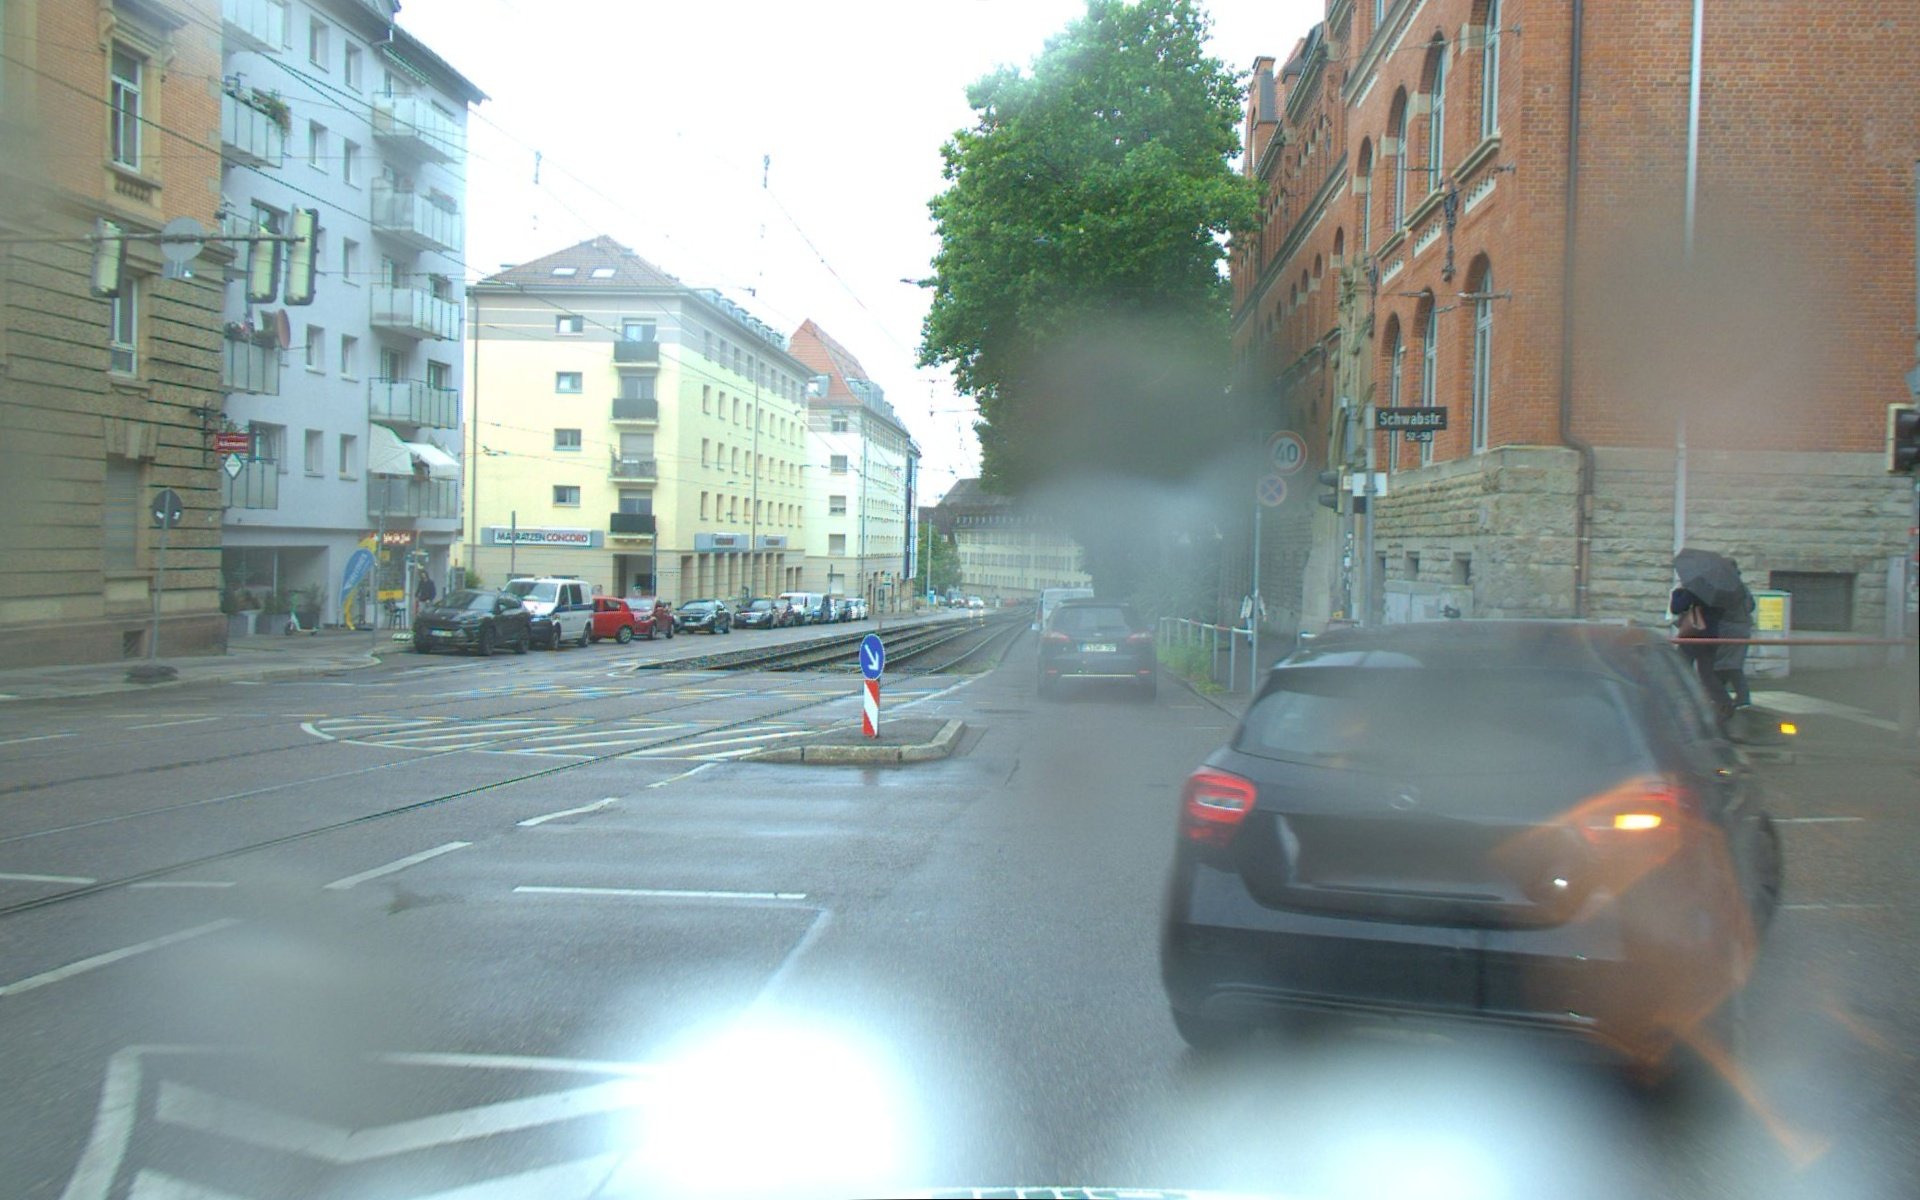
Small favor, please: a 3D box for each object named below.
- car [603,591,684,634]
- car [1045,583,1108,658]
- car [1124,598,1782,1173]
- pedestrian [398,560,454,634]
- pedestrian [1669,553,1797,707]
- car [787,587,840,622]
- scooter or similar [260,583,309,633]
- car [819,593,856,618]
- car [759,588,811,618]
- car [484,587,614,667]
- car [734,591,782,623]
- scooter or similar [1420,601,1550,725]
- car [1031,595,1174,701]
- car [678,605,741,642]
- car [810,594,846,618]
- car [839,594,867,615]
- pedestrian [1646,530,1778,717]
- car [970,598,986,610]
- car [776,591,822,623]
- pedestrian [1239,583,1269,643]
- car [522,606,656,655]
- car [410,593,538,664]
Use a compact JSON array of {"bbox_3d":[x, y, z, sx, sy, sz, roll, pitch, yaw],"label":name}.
[{"bbox_3d":[-11.175,0.428,58.610,1.618,1.477,4.077,0,0,8],"label":"car"},{"bbox_3d":[3.322,0.576,47.735,1.704,2.049,3.905,0,0,2],"label":"car"},{"bbox_3d":[2.185,0.729,6.414,1.759,1.399,3.996,1,1,27],"label":"car"},{"bbox_3d":[-14.551,-0.087,45.100,1.148,1.962,1.177,1,0,-4],"label":"pedestrian"},{"bbox_3d":[8.599,0.322,18.440,0.938,1.654,1.074,-1,0,4],"label":"pedestrian"},{"bbox_3d":[-8.718,0.264,98.932,1.951,1.938,5.464,2,0,7],"label":"car"},{"bbox_3d":[-17.535,0.204,42.935,1.068,1.230,0.316,-3,0,-7],"label":"scooter or similar"},{"bbox_3d":[-8.019,0.356,108.388,1.775,1.525,4.585,2,0,4],"label":"car"},{"bbox_3d":[-9.136,0.149,86.647,1.812,1.457,4.834,2,0,4],"label":"car"},{"bbox_3d":[-11.805,0.716,47.945,2.027,2.044,5.304,3,1,4],"label":"car"},{"bbox_3d":[-9.870,0.325,81.098,1.814,1.534,4.990,0,0,-1],"label":"car"},{"bbox_3d":[5.579,0.655,17.585,1.222,1.272,0.637,-1,-1,26],"label":"scooter or similar"},{"bbox_3d":[2.129,0.687,25.755,1.893,1.478,4.318,1,0,1],"label":"car"},{"bbox_3d":[-10.209,0.938,67.724,1.644,1.420,4.624,0,0,3],"label":"car"},{"bbox_3d":[-8.293,0.345,103.851,1.656,1.464,4.051,0,0,4],"label":"car"},{"bbox_3d":[-7.598,0.319,117.443,1.669,1.421,3.935,2,0,0],"label":"car"},{"bbox_3d":[8.014,0.243,17.677,0.938,1.920,1.074,-1,0,4],"label":"pedestrian"},{"bbox_3d":[2.319,0.510,212.305,1.676,1.488,4.283,0,0,5],"label":"car"},{"bbox_3d":[-9.040,0.398,93.004,1.828,1.747,4.462,0,0,4],"label":"car"},{"bbox_3d":[8.376,0.368,47.121,0.805,1.708,0.860,0,0,6],"label":"pedestrian"},{"bbox_3d":[-11.788,0.952,52.707,1.751,1.459,3.964,1,0,38],"label":"car"},{"bbox_3d":[-12.199,0.680,41.829,1.696,1.680,4.365,1,0,3],"label":"car"}]
